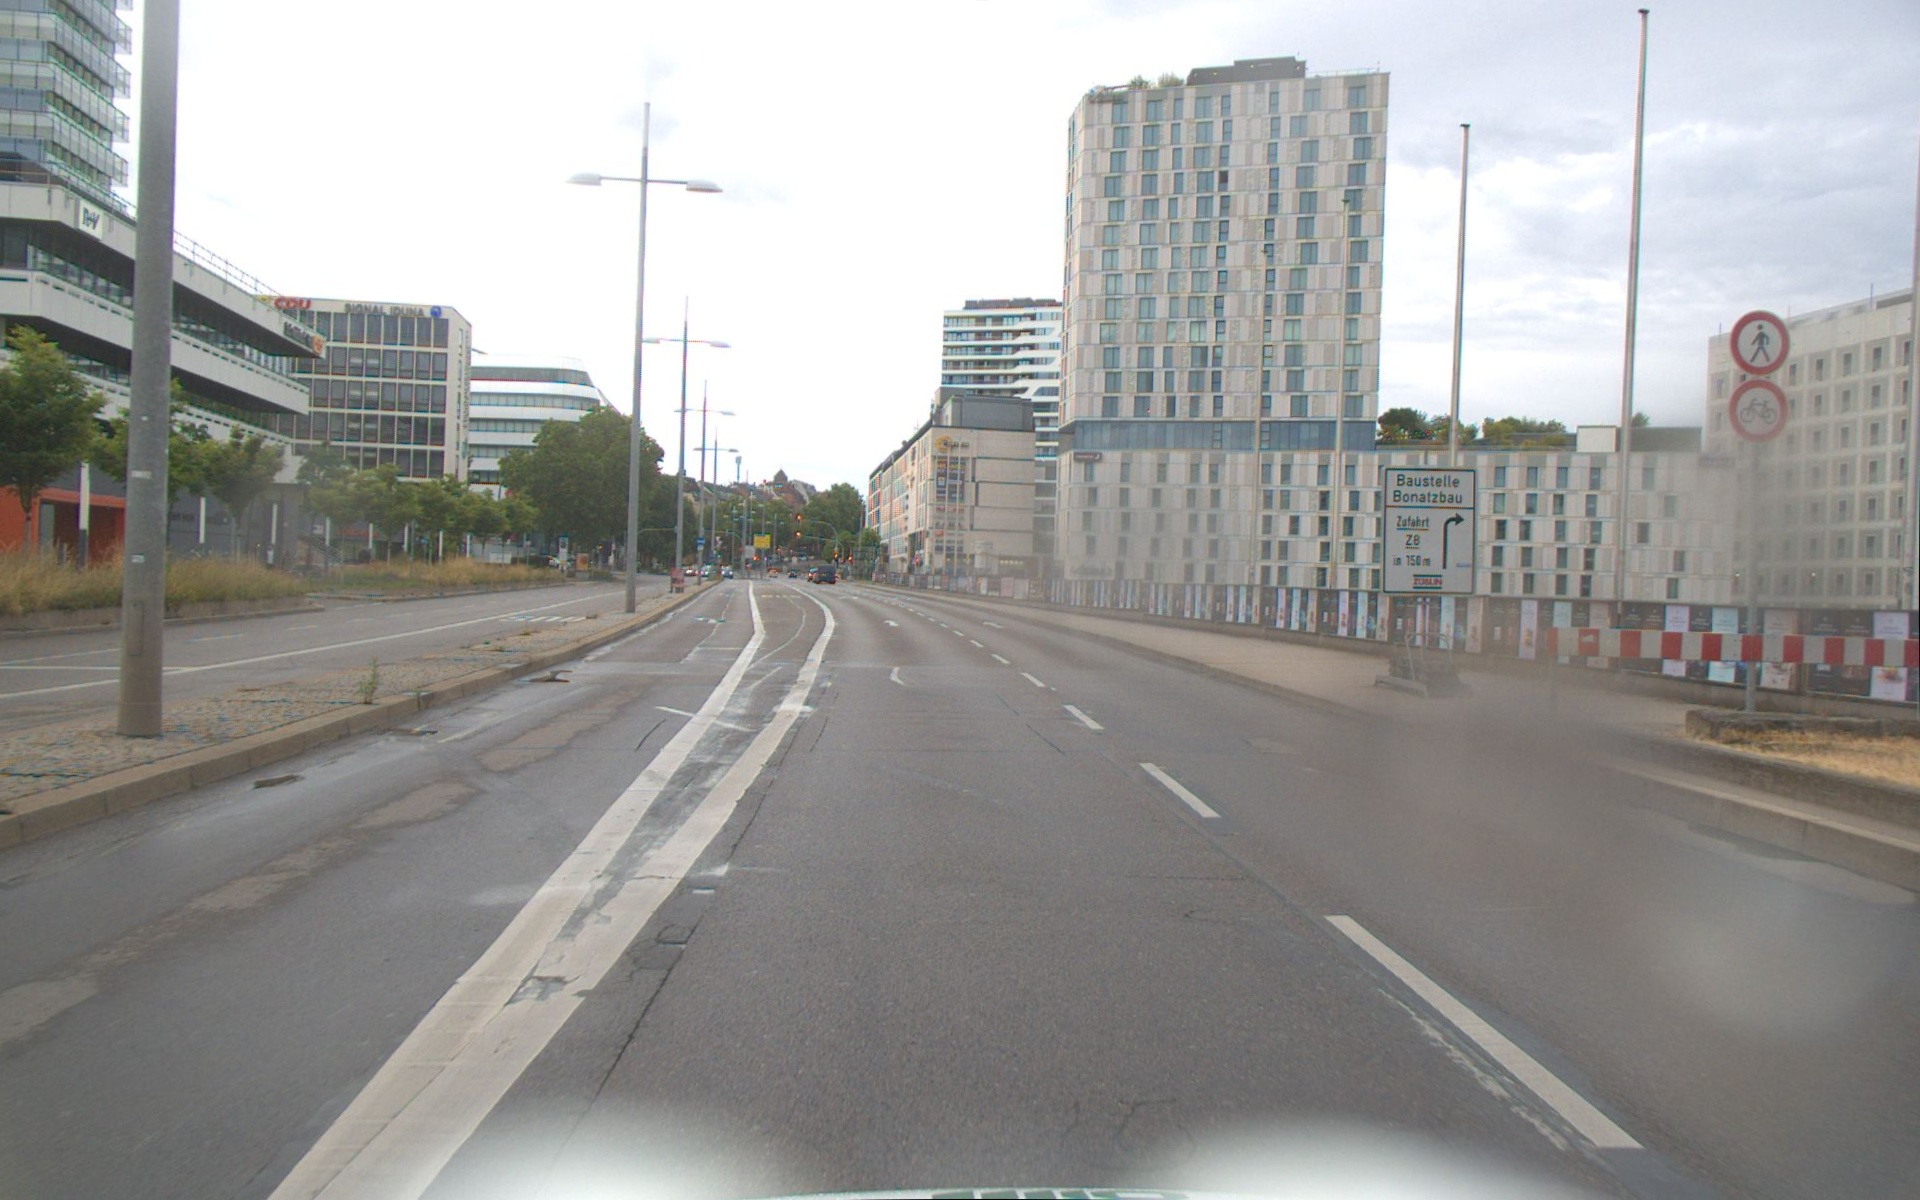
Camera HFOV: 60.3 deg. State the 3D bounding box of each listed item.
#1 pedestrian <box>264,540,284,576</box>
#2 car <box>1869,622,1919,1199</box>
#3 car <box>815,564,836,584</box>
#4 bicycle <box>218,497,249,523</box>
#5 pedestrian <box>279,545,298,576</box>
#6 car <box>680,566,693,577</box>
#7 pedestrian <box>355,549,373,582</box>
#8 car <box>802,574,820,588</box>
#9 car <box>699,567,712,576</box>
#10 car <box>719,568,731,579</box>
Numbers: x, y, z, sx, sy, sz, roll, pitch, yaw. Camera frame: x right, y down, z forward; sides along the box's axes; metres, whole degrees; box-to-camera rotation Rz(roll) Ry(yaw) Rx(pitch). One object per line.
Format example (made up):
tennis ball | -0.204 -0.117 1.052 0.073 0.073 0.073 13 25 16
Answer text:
pedestrian | -33.351 -2.042 80.388 0.606 1.687 0.797 3 -1 -6
car | 3.148 0.761 2.019 1.688 1.400 4.153 1 0 -2
car | -13.951 -2.693 171.436 1.994 1.915 5.035 -1 2 -7
bicycle | -26.483 -3.271 60.278 0.604 0.872 1.633 1 0 -40
pedestrian | -32.660 -1.931 80.472 0.606 1.471 0.797 1 -1 -6
car | -39.825 -4.136 240.619 1.710 1.352 4.218 1 0 -7
pedestrian | -33.614 -1.958 93.296 0.769 1.839 0.627 1 -1 -7
car | -17.703 -2.284 196.433 1.710 1.558 3.802 1 0 -13
car | -37.135 -4.109 241.270 1.710 1.279 3.534 2 1 -7
car | -34.152 -3.815 240.249 1.710 1.470 3.389 1 0 -7
